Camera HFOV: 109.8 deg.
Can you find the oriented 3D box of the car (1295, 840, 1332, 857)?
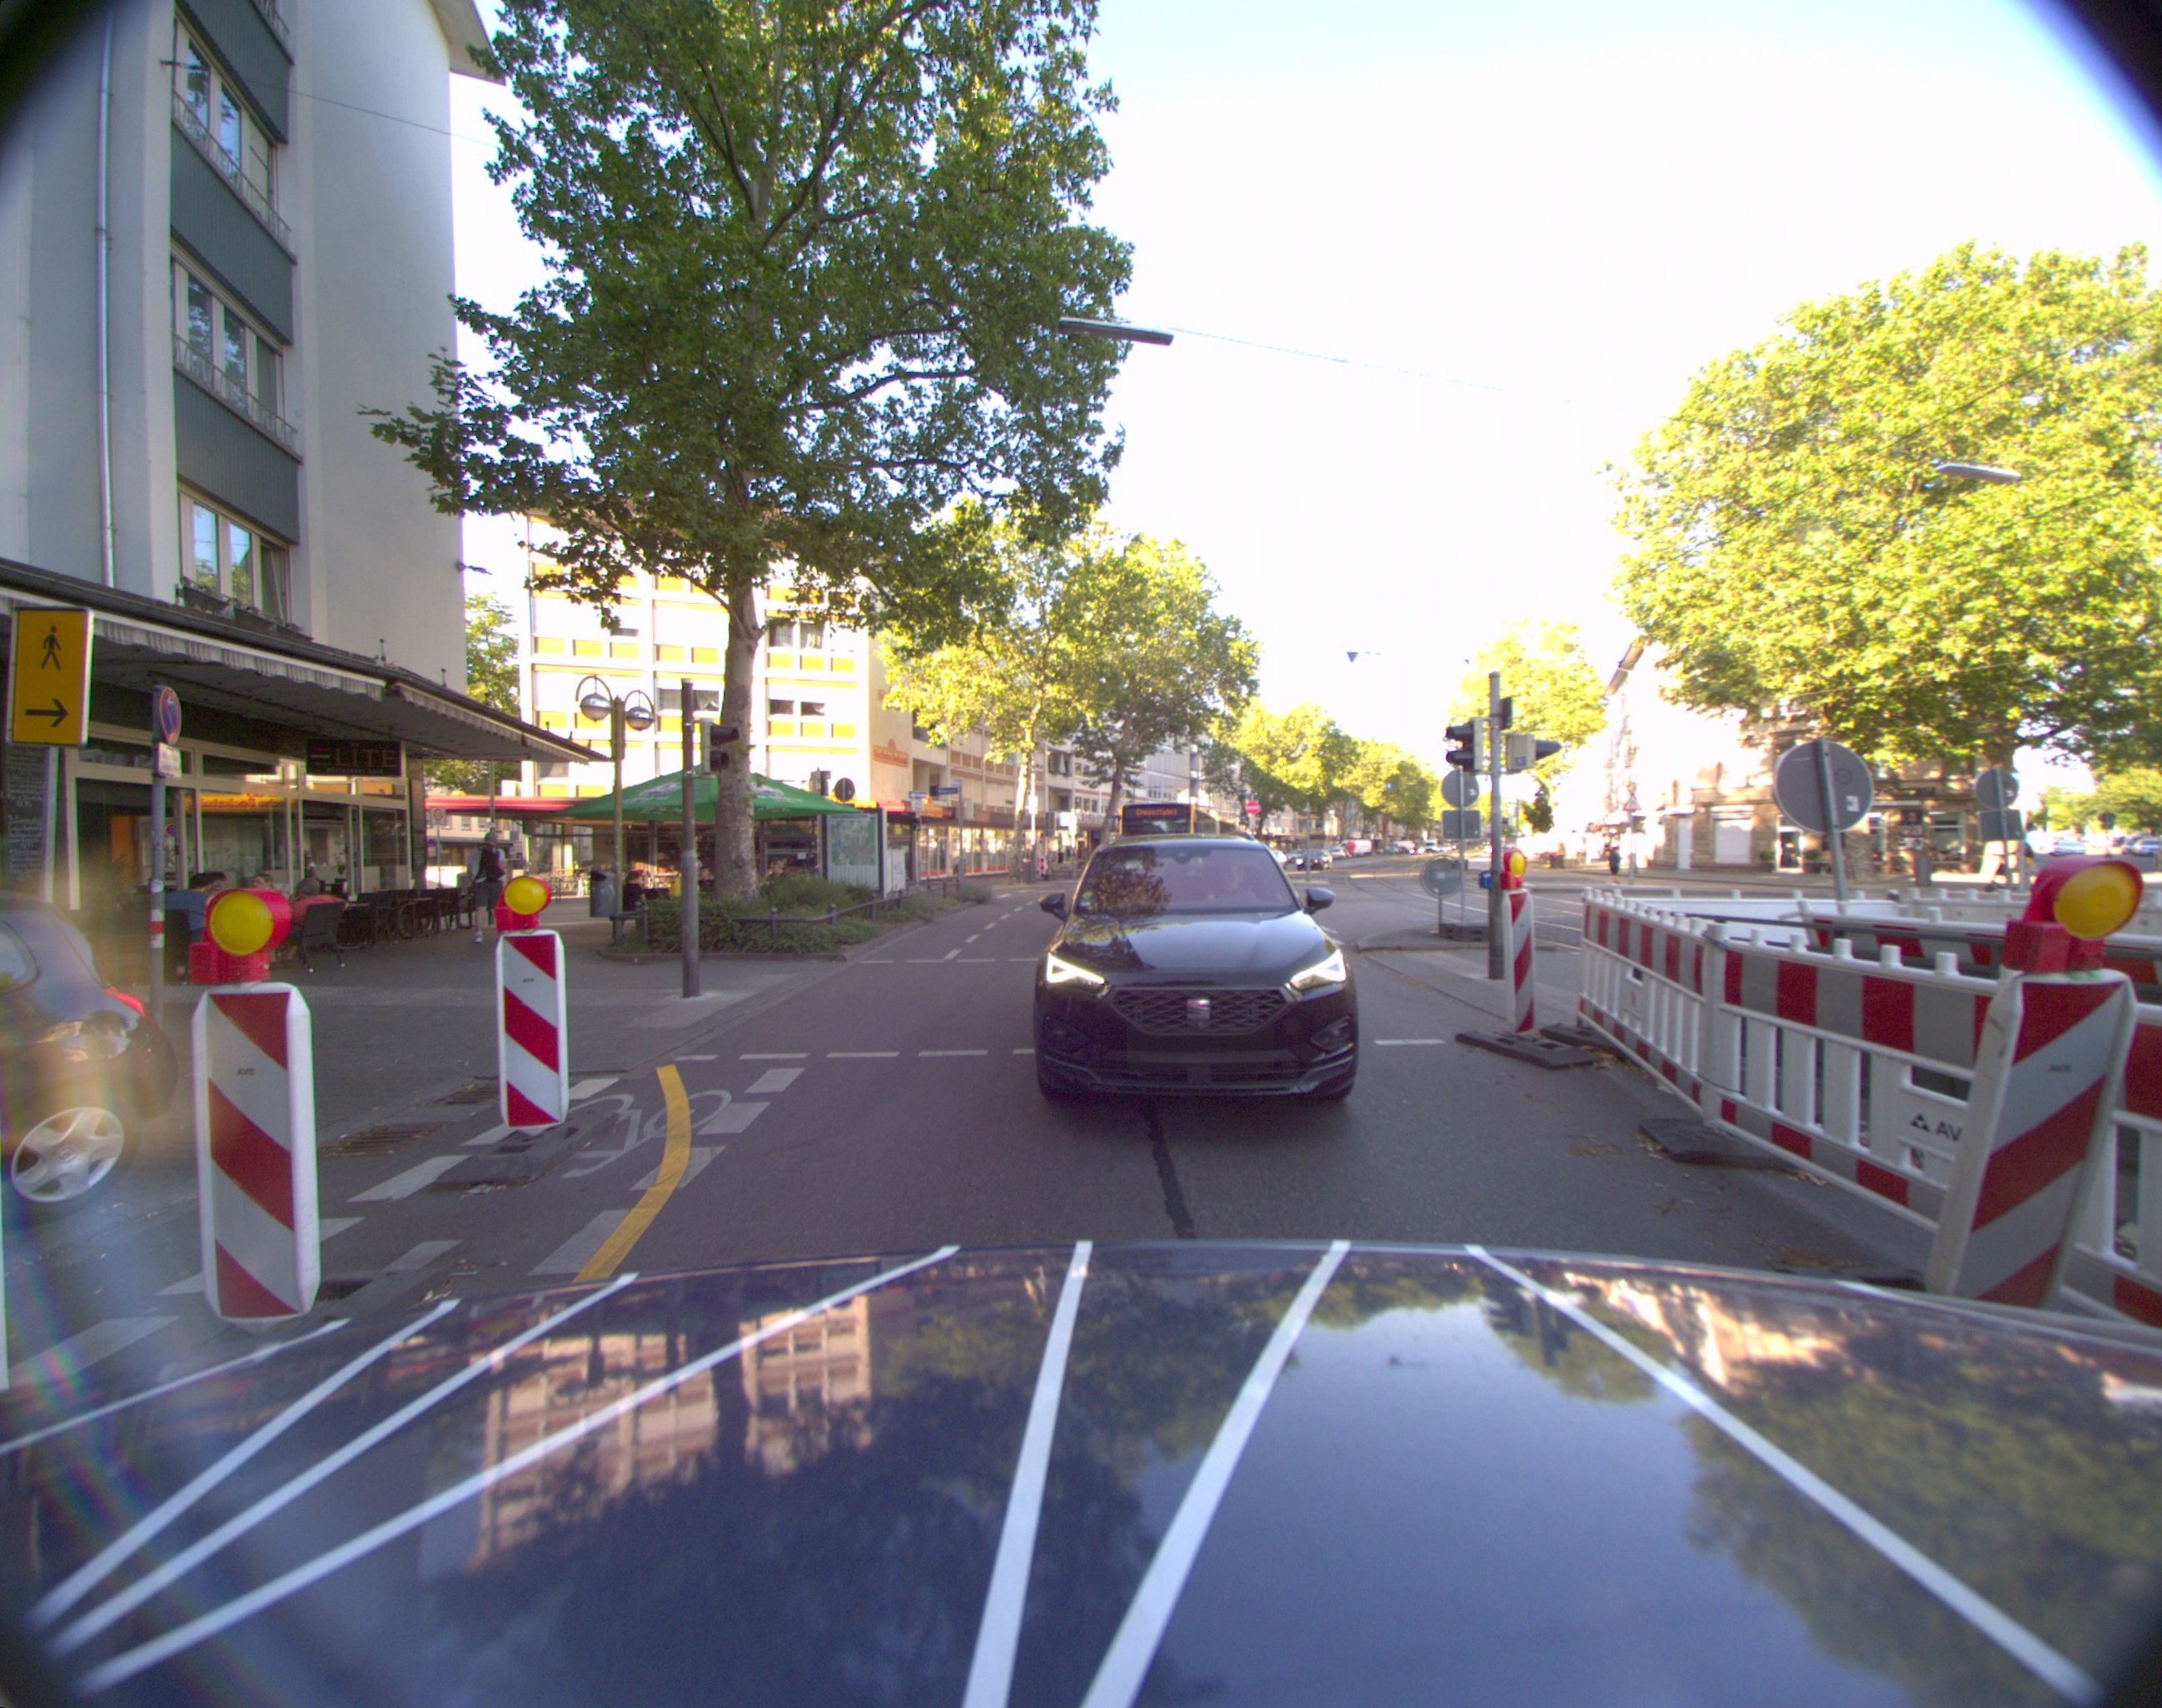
[{"bbox_3d":[28.380,-0.720,92.760,3.994,2.002,2.001,-1,1,8],"label":"car"}]

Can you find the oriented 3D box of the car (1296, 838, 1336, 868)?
[{"bbox_3d":[16.590,-0.094,53.431,1.995,2.002,4.007,0,1,27],"label":"car"}]

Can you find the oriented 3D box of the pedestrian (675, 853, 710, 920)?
[{"bbox_3d":[-9.577,0.785,18.734,0.629,1.628,0.531,-1,1,-15],"label":"pedestrian"}]

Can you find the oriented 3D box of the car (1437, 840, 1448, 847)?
[{"bbox_3d":[75.931,-2.119,159.614,1.700,1.462,3.771,0,1,31],"label":"car"}]

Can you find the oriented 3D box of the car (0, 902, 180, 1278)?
[{"bbox_3d":[-5.213,0.971,1.851,1.771,1.459,3.610,2,1,-2],"label":"car"}]

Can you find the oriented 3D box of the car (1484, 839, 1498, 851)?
[{"bbox_3d":[69.285,-1.480,128.258,1.994,2.002,4.007,0,1,29],"label":"car"}]

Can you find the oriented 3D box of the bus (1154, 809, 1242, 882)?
[{"bbox_3d":[5.884,-0.414,36.931,2.717,3.088,8.608,0,1,19],"label":"bus"}]

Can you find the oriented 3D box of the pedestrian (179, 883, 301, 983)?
[{"bbox_3d":[-10.739,0.988,9.726,0.647,1.186,0.792,0,1,7],"label":"pedestrian"}]

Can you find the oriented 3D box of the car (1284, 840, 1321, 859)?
[{"bbox_3d":[24.844,-0.493,85.225,3.991,2.002,2.003,0,1,18],"label":"car"}]

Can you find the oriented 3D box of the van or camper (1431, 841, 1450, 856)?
[{"bbox_3d":[66.775,-1.042,141.083,2.420,2.702,6.144,0,1,32],"label":"van or camper"}]

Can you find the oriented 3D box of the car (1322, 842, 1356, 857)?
[{"bbox_3d":[35.094,-0.597,103.472,3.994,2.002,2.001,-1,1,8],"label":"car"}]

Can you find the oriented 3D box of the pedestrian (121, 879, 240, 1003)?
[{"bbox_3d":[-10.268,0.950,8.675,0.789,1.299,0.701,0,1,28],"label":"pedestrian"}]

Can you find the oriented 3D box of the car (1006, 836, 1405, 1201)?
[{"bbox_3d":[0.611,0.751,5.536,1.841,1.696,4.000,-1,1,1],"label":"car"}]

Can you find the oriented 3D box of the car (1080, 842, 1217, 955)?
[{"bbox_3d":[1.022,0.630,13.172,1.998,1.634,4.075,-1,1,1],"label":"car"}]

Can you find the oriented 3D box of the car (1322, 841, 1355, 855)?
[{"bbox_3d":[36.508,-0.880,107.796,3.994,2.002,2.001,-1,1,8],"label":"car"}]

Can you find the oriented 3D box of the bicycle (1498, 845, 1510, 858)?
[{"bbox_3d":[39.870,-0.217,71.659,0.850,1.186,2.470,0,1,25],"label":"bicycle"}]

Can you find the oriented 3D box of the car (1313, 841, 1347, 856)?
[{"bbox_3d":[32.335,-0.713,98.718,3.994,2.002,2.001,-1,1,8],"label":"car"}]

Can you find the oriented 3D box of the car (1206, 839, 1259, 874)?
[{"bbox_3d":[9.240,0.131,46.159,1.995,2.002,4.105,0,1,29],"label":"car"}]

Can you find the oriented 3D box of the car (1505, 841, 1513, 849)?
[{"bbox_3d":[99.987,-2.048,177.572,1.686,1.841,4.007,0,1,29],"label":"car"}]

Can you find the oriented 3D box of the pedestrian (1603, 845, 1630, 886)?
[{"bbox_3d":[20.322,0.419,28.857,0.603,1.524,0.745,0,1,12],"label":"pedestrian"}]

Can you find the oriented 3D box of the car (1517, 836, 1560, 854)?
[{"bbox_3d":[52.419,-0.982,87.058,4.001,2.002,1.997,-1,1,-13],"label":"car"}]

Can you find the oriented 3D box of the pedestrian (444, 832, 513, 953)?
[{"bbox_3d":[-10.131,0.617,12.804,0.649,1.948,0.888,-1,1,-23],"label":"pedestrian"}]

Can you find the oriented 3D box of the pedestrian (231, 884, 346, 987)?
[{"bbox_3d":[-9.895,0.988,9.497,0.877,1.186,0.701,0,1,24],"label":"pedestrian"}]

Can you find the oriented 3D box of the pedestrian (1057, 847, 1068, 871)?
[{"bbox_3d":[-1.238,0.319,50.969,0.627,1.577,0.532,0,1,20],"label":"pedestrian"}]

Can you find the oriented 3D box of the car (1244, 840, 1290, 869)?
[{"bbox_3d":[13.544,0.001,55.132,1.994,2.002,4.008,0,1,33],"label":"car"}]

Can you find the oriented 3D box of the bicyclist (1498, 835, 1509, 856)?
[{"bbox_3d":[39.862,-0.824,71.627,0.854,2.002,0.985,0,1,26],"label":"bicyclist"}]

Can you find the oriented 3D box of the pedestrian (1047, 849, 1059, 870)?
[{"bbox_3d":[-1.910,0.358,51.184,0.627,1.429,0.532,0,1,20],"label":"pedestrian"}]

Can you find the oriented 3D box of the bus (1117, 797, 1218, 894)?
[{"bbox_3d":[3.505,-0.306,28.512,2.718,3.088,8.629,0,1,13],"label":"bus"}]
